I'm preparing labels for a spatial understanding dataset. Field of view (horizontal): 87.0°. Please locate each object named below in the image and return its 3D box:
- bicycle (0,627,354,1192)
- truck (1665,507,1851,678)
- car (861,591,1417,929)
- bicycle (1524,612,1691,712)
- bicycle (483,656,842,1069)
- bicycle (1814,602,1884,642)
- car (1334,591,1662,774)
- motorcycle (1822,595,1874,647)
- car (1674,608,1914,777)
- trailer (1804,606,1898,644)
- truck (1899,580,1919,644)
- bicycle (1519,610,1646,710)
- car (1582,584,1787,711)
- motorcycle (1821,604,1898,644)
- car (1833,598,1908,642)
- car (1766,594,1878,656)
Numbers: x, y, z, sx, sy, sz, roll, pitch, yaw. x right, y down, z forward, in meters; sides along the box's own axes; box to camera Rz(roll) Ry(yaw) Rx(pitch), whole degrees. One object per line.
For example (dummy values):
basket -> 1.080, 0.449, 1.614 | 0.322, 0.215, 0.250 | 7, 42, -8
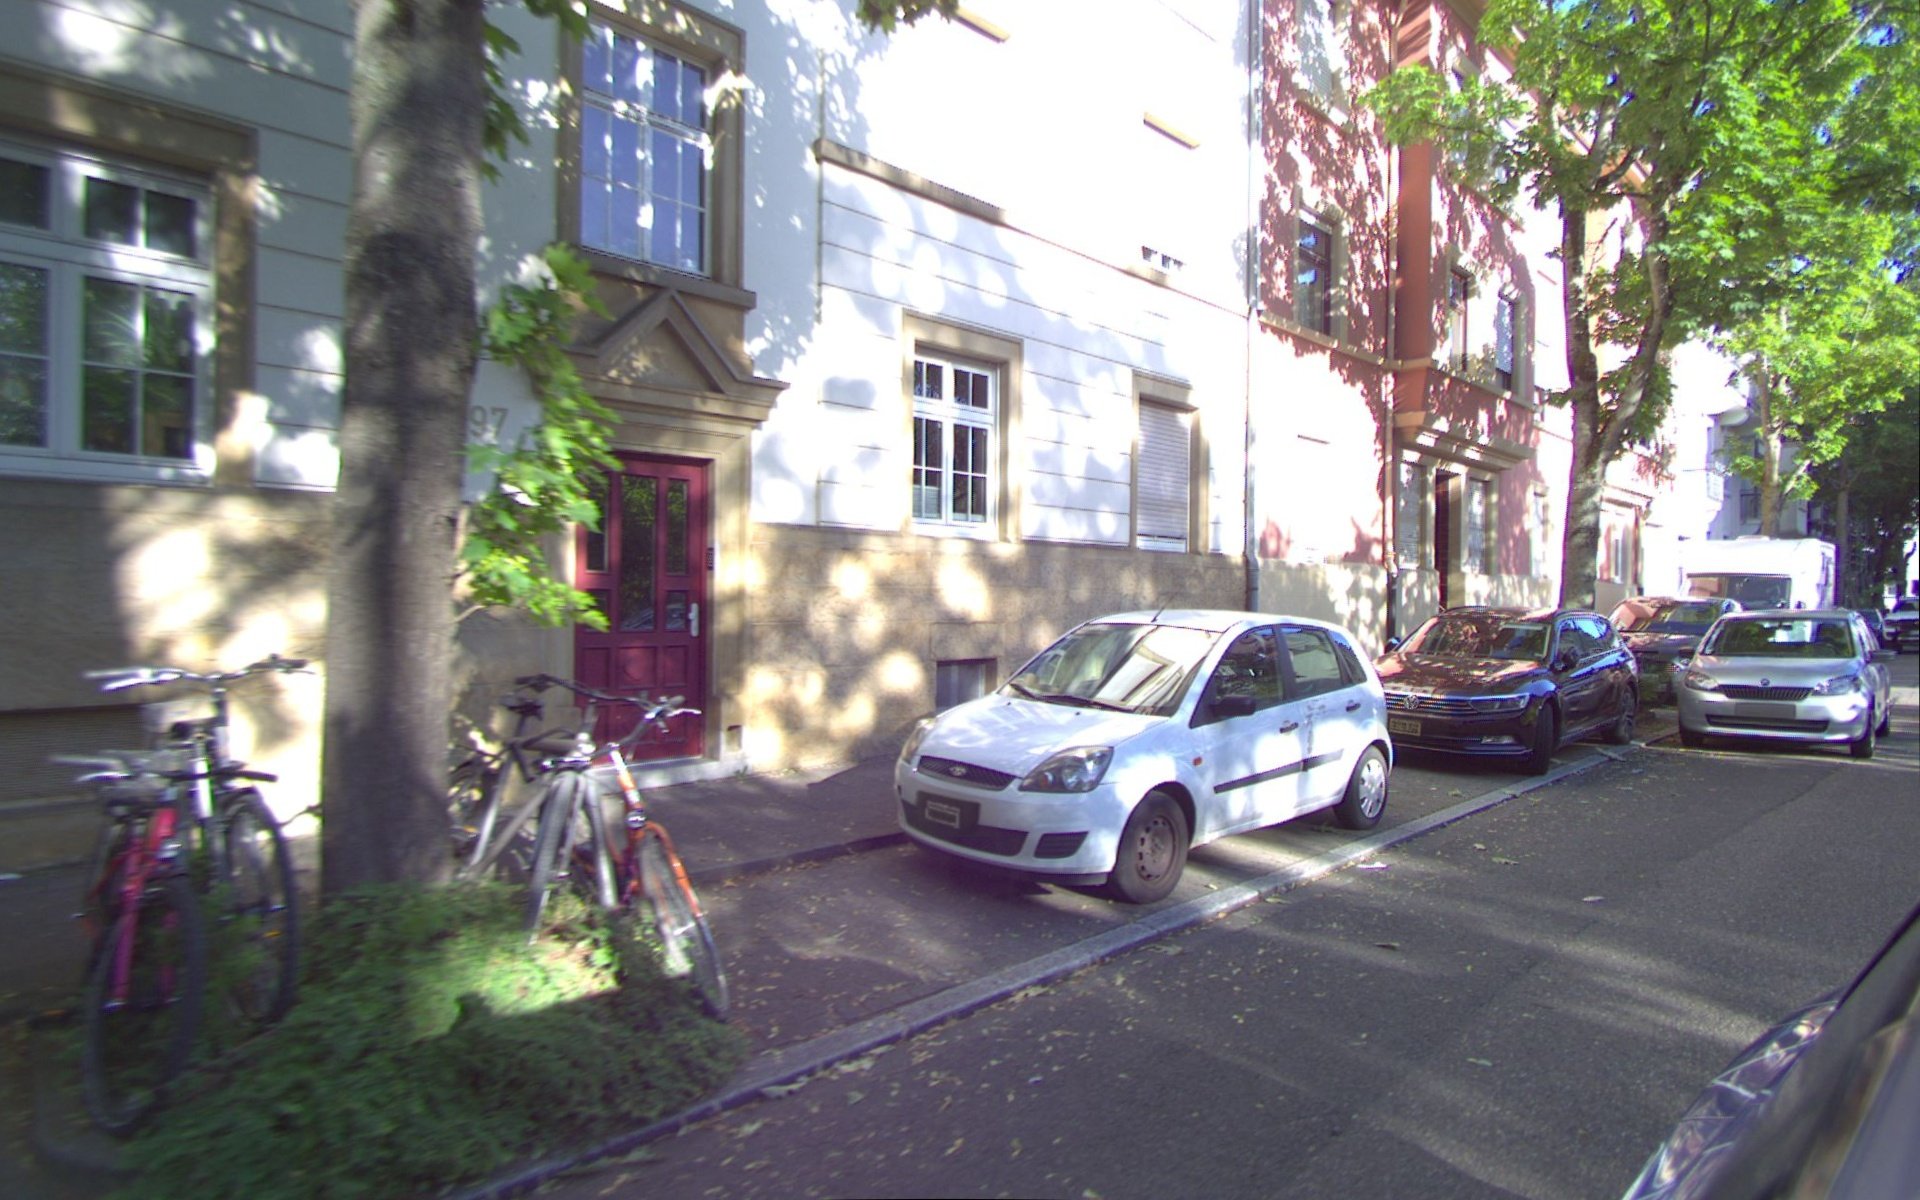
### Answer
bicycle -> -2.708, 0.782, 3.451 | 0.747, 1.244, 1.973 | 0, 2, -41
truck -> 16.392, -0.179, 20.640 | 6.008, 3.005, 2.076 | 0, 3, -44
car -> 1.326, 0.722, 6.461 | 3.685, 1.506, 1.599 | 0, 1, -43
bicycle -> 8.858, 0.815, 13.905 | 0.560, 1.181, 1.813 | 0, 2, -43
bicycle -> -1.288, 0.862, 4.050 | 0.589, 1.086, 1.973 | 0, 2, -41
bicycle -> 30.258, 0.733, 34.464 | 0.576, 1.321, 1.760 | 1, 0, -44
car -> 5.796, 0.690, 10.637 | 4.386, 1.533, 1.788 | 0, 0, -44
motorcycle -> 26.615, 0.611, 30.315 | 2.101, 1.505, 0.931 | 0, 0, -42
car -> 9.489, 0.881, 11.416 | 3.737, 1.564, 1.680 | 0, -1, -44
trailer -> 27.879, 0.762, 31.726 | 2.072, 1.126, 1.102 | 0, 0, 34
truck -> 32.035, 0.367, 32.889 | 5.447, 1.974, 1.830 | 0, 0, -43
bicycle -> 7.872, 0.737, 12.837 | 0.322, 1.154, 1.309 | 1, 1, -42
car -> 11.791, 0.647, 16.321 | 4.863, 1.737, 1.886 | 0, 1, -45
motorcycle -> 28.921, 0.764, 32.557 | 1.735, 1.256, 0.701 | 0, 0, 9
car -> 33.246, 0.683, 36.920 | 4.356, 1.440, 1.682 | 0, 2, -44
car -> 23.929, 0.634, 28.045 | 4.699, 1.548, 1.753 | 0, 1, -42
